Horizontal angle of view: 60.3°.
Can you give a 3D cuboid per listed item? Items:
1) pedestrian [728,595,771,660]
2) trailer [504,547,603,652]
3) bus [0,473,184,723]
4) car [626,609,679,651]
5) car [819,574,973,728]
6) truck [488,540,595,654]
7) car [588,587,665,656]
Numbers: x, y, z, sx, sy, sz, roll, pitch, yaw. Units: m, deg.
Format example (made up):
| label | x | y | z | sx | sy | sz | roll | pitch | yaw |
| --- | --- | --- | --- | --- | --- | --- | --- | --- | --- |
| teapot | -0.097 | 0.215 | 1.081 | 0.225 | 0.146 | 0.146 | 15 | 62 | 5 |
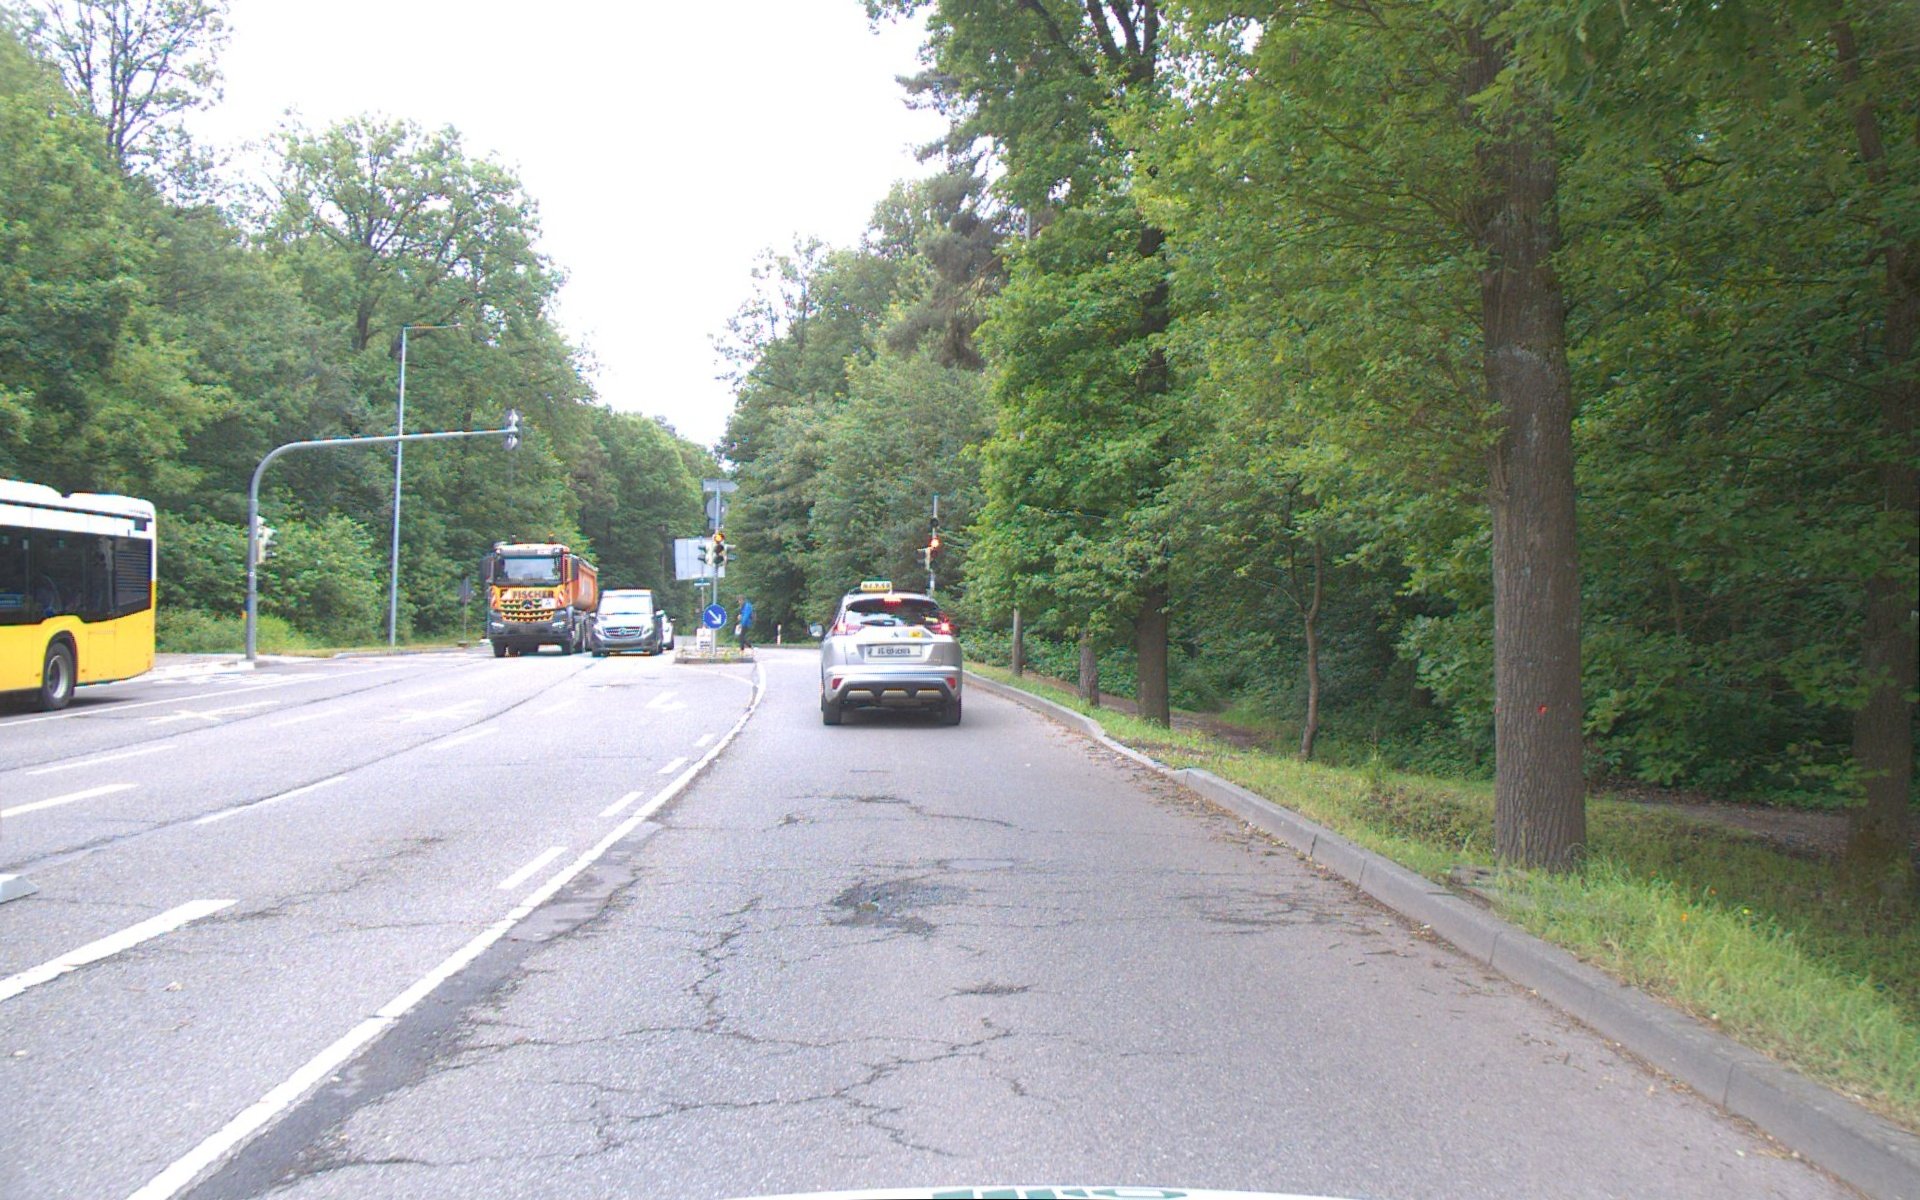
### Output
| label | x | y | z | sx | sy | sz | roll | pitch | yaw |
| --- | --- | --- | --- | --- | --- | --- | --- | --- | --- |
| pedestrian | -5.556 | 0.724 | 43.736 | 1.026 | 1.678 | 1.069 | 0 | 0 | -1 |
| trailer | -14.086 | 0.053 | 57.878 | 2.689 | 3.376 | 8.549 | -1 | -1 | -9 |
| bus | -13.749 | -0.052 | 22.443 | 2.842 | 3.181 | 8.686 | 1 | 0 | -4 |
| car | -11.096 | 1.065 | 59.873 | 1.581 | 1.344 | 3.716 | -2 | 1 | -7 |
| car | -0.814 | 0.594 | 22.003 | 1.809 | 1.811 | 3.999 | 2 | 1 | -1 |
| truck | -13.245 | -0.039 | 52.795 | 2.689 | 3.376 | 7.143 | -1 | -1 | -10 |
| car | -9.910 | 0.641 | 49.456 | 1.956 | 1.927 | 4.829 | -1 | -1 | -8 |
